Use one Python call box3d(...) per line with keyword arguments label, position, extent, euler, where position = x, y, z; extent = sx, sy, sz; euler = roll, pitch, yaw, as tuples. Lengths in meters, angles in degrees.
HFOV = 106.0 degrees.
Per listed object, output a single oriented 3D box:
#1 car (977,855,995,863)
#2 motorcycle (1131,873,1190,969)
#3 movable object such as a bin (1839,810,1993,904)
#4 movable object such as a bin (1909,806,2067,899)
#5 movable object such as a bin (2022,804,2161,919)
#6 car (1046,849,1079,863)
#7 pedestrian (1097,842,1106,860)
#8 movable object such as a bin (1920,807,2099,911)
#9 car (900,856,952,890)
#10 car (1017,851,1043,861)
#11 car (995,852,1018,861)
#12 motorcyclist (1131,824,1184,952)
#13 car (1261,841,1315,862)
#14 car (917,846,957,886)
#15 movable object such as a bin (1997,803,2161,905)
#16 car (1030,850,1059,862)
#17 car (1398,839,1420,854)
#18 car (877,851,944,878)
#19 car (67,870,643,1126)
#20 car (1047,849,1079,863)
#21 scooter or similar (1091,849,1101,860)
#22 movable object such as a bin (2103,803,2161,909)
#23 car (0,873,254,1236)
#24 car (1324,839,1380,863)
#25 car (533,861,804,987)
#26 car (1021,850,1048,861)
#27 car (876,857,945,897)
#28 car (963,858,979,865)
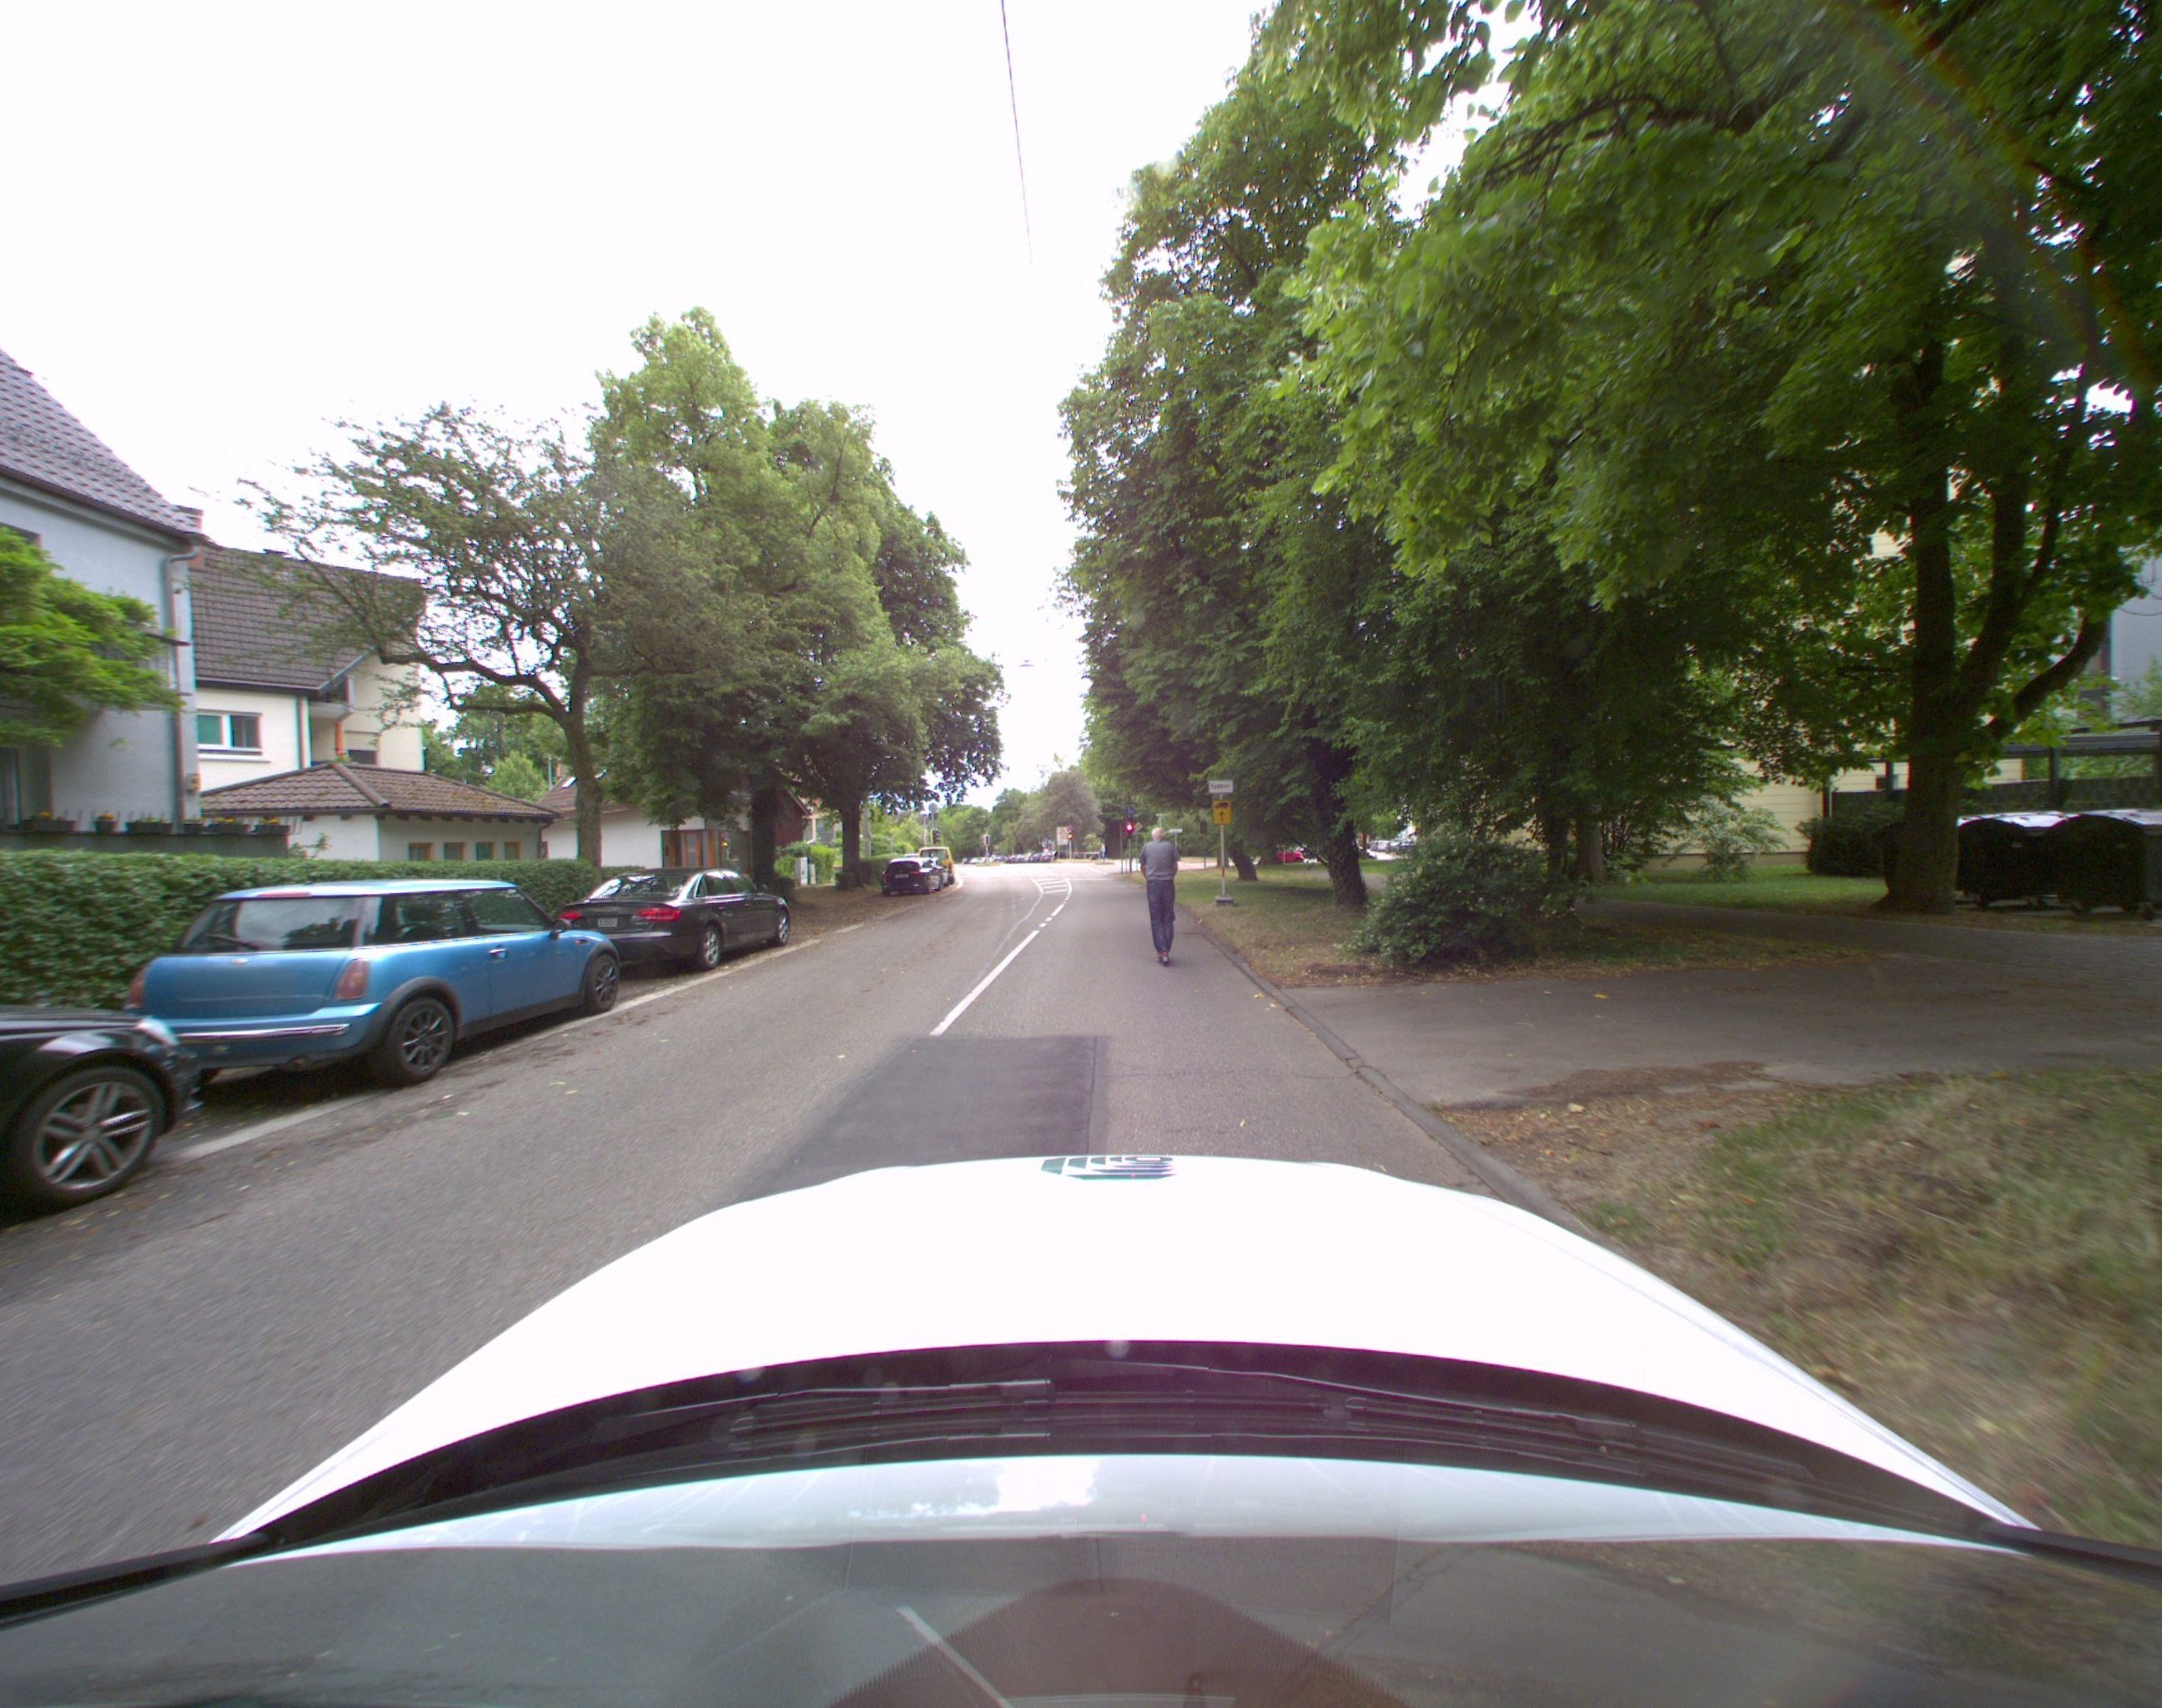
box3d(label="car", position=(-20.943, 1.080, 179.532), extent=(3.981, 1.510, 1.797), euler=(-2, 0, -5))
box3d(label="motorcycle", position=(1.082, 0.888, 11.276), extent=(0.671, 1.217, 1.273), euler=(0, 0, -1))
box3d(label="movable object such as a bin", position=(14.528, 0.046, 14.220), extent=(1.324, 1.501, 1.312), euler=(-3, 0, -5))
box3d(label="movable object such as a bin", position=(15.964, -0.028, 14.380), extent=(1.324, 1.501, 1.312), euler=(-3, 0, -5))
box3d(label="movable object such as a bin", position=(14.728, 0.073, 11.516), extent=(1.324, 1.501, 1.312), euler=(-3, 0, -5))
box3d(label="car", position=(-2.295, 0.268, 100.131), extent=(3.981, 1.510, 1.797), euler=(-2, 0, -5))
box3d(label="pedestrian", position=(2.061, -0.345, 81.055), extent=(0.726, 1.761, 0.665), euler=(-2, 0, 17))
box3d(label="movable object such as a bin", position=(14.618, 0.064, 12.873), extent=(1.324, 1.501, 1.312), euler=(-3, 0, -5))
box3d(label="car", position=(-7.165, 0.849, 38.079), extent=(1.790, 1.416, 4.184), euler=(-2, 0, -3))
box3d(label="car", position=(-7.939, 0.303, 126.449), extent=(3.981, 1.510, 1.797), euler=(-2, 0, -5))
box3d(label="car", position=(-12.856, 0.417, 140.605), extent=(3.981, 1.510, 1.797), euler=(-2, 0, -5))
box3d(label="motorcyclist", position=(1.078, 0.466, 11.562), extent=(0.671, 1.761, 0.638), euler=(0, 0, -1))
box3d(label="car", position=(16.200, -0.205, 63.866), extent=(3.962, 1.557, 1.806), euler=(0, 3, 10))
box3d(label="car", position=(-7.672, 0.634, 43.700), extent=(1.856, 1.964, 4.492), euler=(-2, 0, -7))
box3d(label="movable object such as a bin", position=(16.074, -0.015, 13.037), extent=(1.324, 1.501, 1.312), euler=(-3, 0, -5))
box3d(label="car", position=(-5.118, 0.277, 113.970), extent=(3.981, 1.510, 1.797), euler=(-2, 0, -5))
box3d(label="car", position=(34.796, -0.824, 86.453), extent=(2.065, 1.510, 4.021), euler=(-2, 0, 21))
box3d(label="car", position=(-10.810, 0.676, 51.884), extent=(3.985, 1.510, 1.795), euler=(-2, 2, -8))
box3d(label="car", position=(-5.457, 0.918, 6.884), extent=(1.661, 1.391, 3.701), euler=(-2, 0, -4))
box3d(label="car", position=(-2.302, 0.232, 103.711), extent=(3.981, 1.510, 1.797), euler=(-2, 0, -5))
box3d(label="scooter or similar", position=(1.506, 0.019, 81.345), extent=(0.704, 1.049, 0.791), euler=(-2, 0, 17))
box3d(label="movable object such as a bin", position=(16.144, 0.001, 11.684), extent=(1.324, 1.501, 1.312), euler=(-3, 0, -5))
box3d(label="car", position=(-5.309, 0.887, 2.201), extent=(1.791, 1.472, 4.411), euler=(-2, 0, -5))
box3d(label="car", position=(20.803, -0.272, 62.587), extent=(3.952, 1.726, 1.810), euler=(1, 4, 23))
box3d(label="car", position=(-5.890, 0.887, 12.409), extent=(1.789, 1.410, 4.642), euler=(-2, 0, -1))
box3d(label="car", position=(-7.136, 0.275, 124.591), extent=(3.981, 1.510, 1.797), euler=(-2, 0, -5))
box3d(label="car", position=(-6.783, 0.886, 32.900), extent=(1.887, 1.410, 4.551), euler=(-2, 0, -2))
box3d(label="car", position=(-28.661, 1.972, 213.154), extent=(3.981, 1.510, 1.797), euler=(-2, 0, -5))
